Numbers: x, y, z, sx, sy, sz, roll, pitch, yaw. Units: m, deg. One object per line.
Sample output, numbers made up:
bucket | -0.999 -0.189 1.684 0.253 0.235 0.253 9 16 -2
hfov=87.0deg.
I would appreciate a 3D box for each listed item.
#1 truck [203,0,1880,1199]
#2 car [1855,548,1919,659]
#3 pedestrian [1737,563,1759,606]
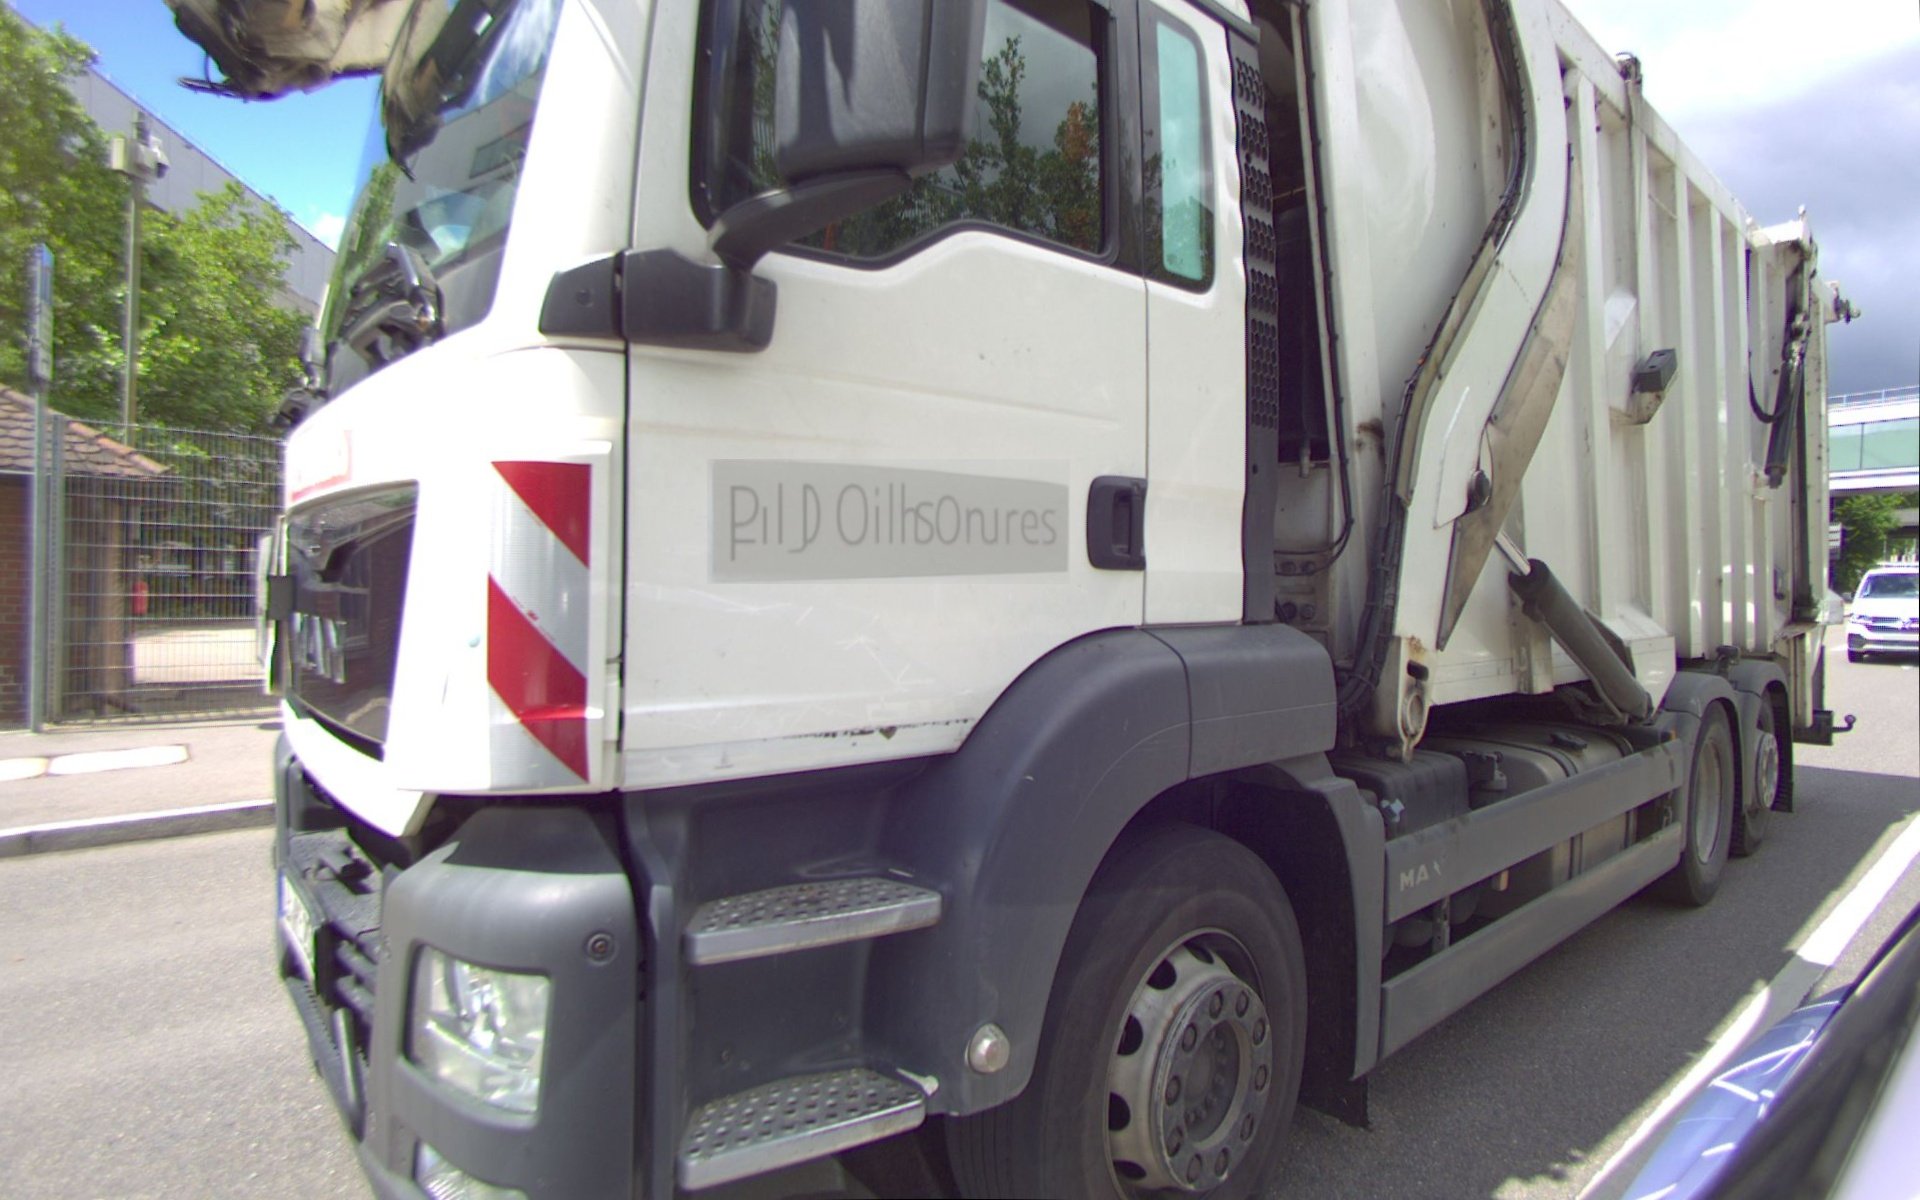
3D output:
truck | 2.419 -0.682 5.254 10.000 3.962 2.492 -1 1 -42
car | 20.129 0.057 20.804 4.574 2.121 1.925 0 1 -40
pedestrian | 35.534 -0.697 45.638 0.737 1.936 0.648 0 0 44
